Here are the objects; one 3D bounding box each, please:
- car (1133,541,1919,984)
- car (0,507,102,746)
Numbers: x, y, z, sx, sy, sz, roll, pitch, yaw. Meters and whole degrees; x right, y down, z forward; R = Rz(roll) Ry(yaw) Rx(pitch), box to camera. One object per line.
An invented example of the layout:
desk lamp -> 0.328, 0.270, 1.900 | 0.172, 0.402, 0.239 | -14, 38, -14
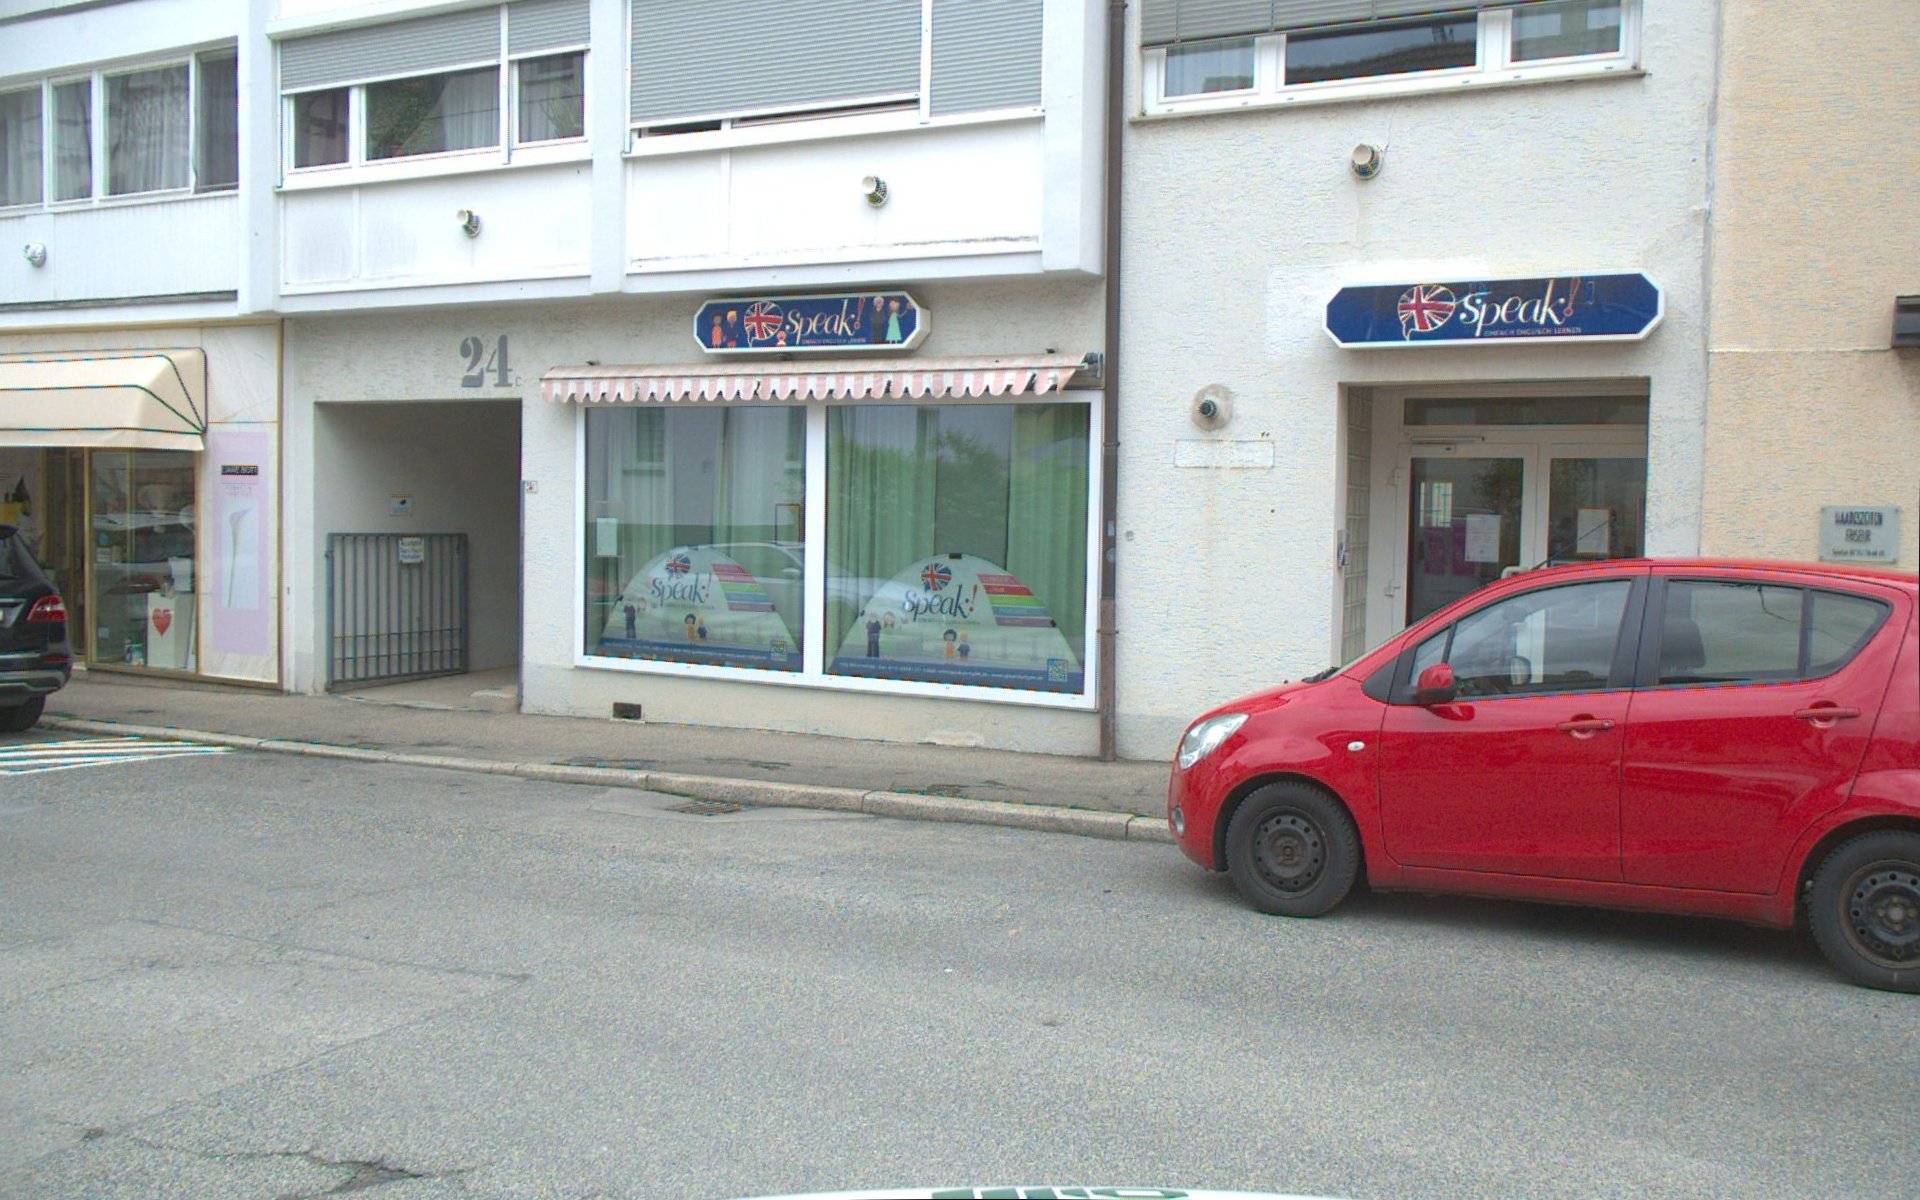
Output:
car -> 2.777, 0.569, 7.326 | 3.613, 1.583, 1.694 | 1, 0, 29
car -> -9.235, 0.172, 13.427 | 4.270, 1.810, 1.945 | 1, 1, 27
